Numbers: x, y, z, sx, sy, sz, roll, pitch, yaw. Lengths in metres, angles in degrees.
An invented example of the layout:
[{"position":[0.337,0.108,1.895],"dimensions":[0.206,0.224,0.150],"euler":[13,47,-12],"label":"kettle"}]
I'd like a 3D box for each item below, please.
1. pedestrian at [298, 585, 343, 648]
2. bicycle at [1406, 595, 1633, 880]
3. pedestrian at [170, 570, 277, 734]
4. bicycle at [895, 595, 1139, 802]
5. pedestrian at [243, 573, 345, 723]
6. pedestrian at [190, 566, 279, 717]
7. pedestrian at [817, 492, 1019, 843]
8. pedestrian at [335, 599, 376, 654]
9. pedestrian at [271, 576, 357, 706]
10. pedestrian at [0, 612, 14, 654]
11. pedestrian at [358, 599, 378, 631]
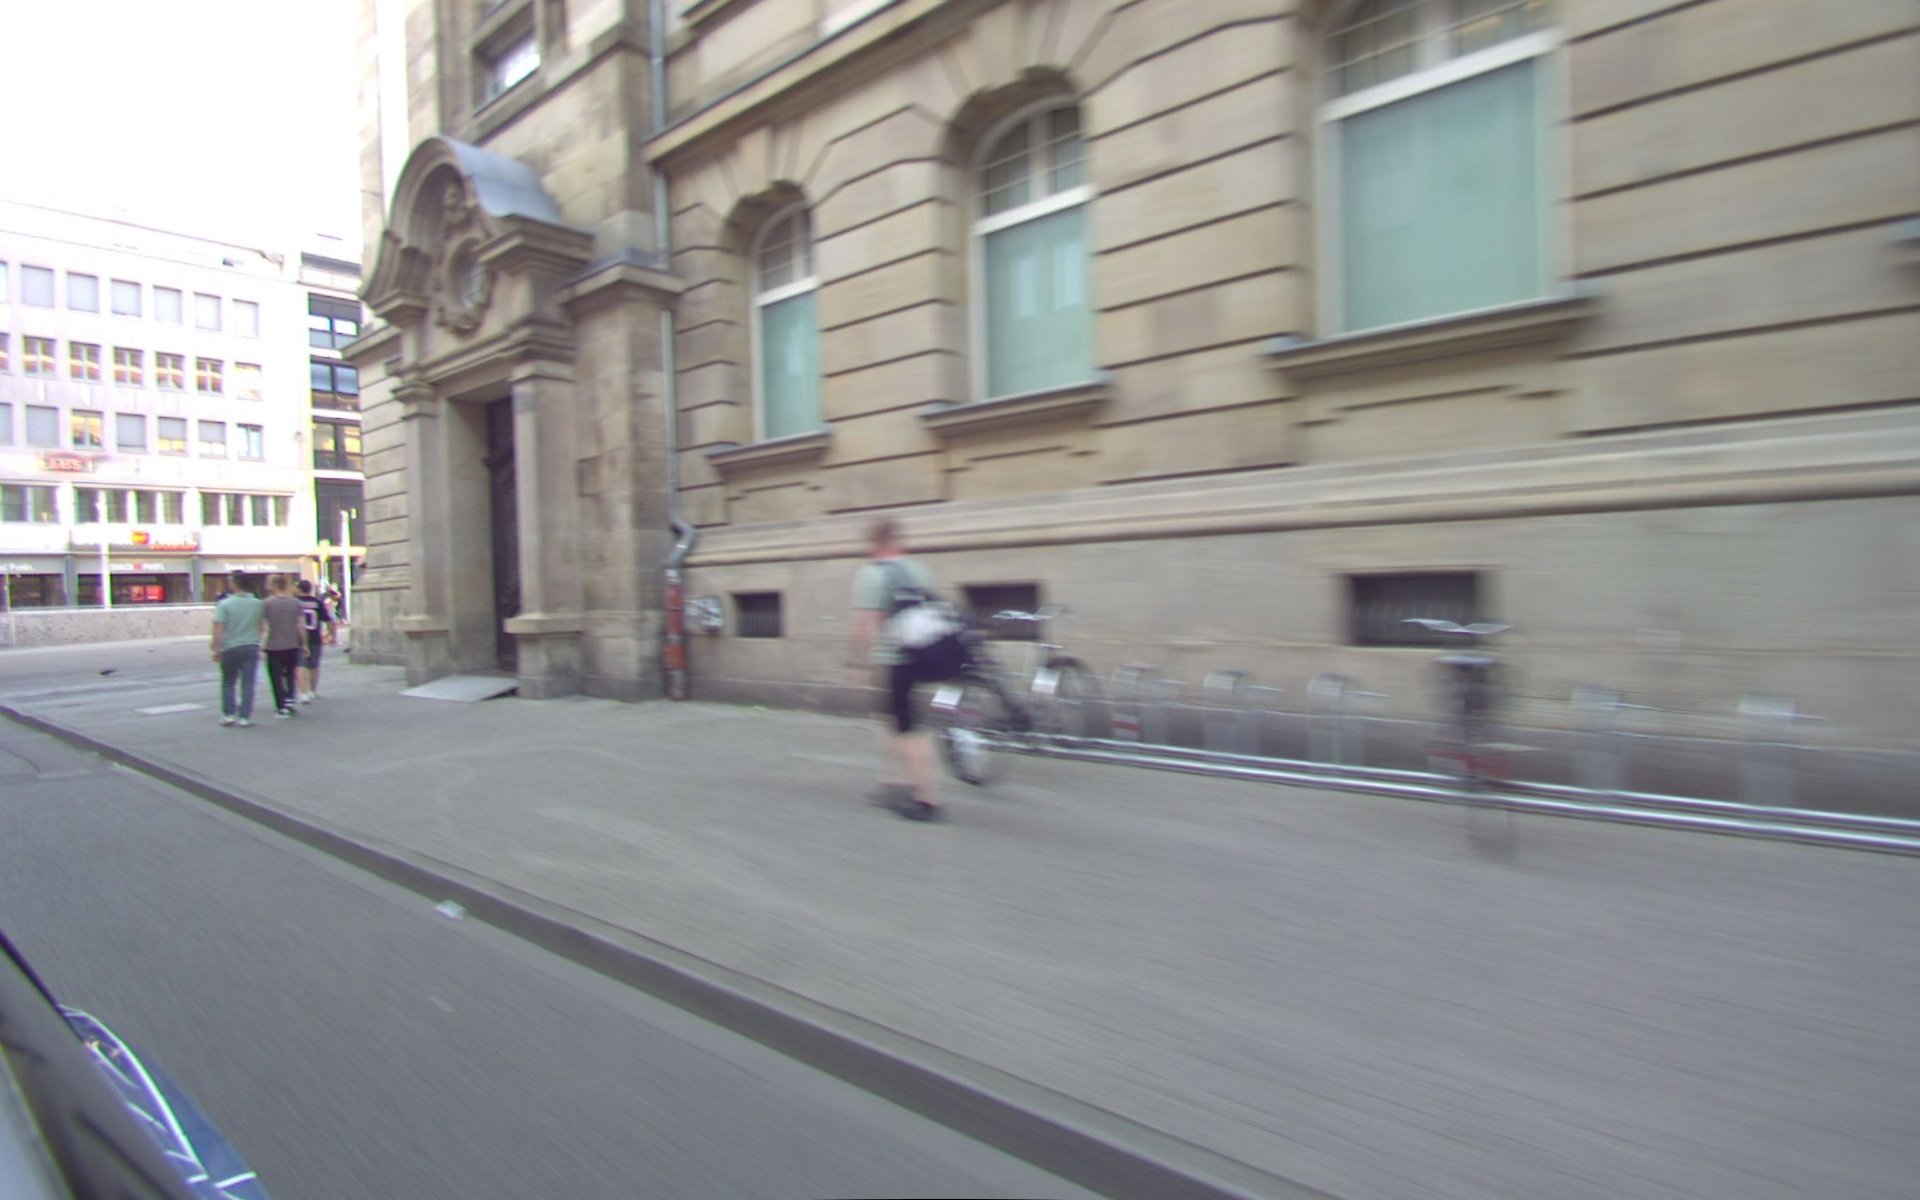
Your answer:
[{"position":[-18.772,0.482,29.713],"dimensions":[0.744,1.774,0.851],"euler":[-1,2,40],"label":"pedestrian"},{"position":[2.767,0.569,5.221],"dimensions":[0.725,1.086,2.011],"euler":[-1,2,21],"label":"bicycle"},{"position":[-8.408,0.568,11.555],"dimensions":[0.839,1.755,0.718],"euler":[-1,3,43],"label":"pedestrian"},{"position":[0.470,0.577,6.952],"dimensions":[0.728,1.117,2.002],"euler":[-1,3,34],"label":"bicycle"},{"position":[-7.981,0.549,12.121],"dimensions":[0.858,1.680,0.721],"euler":[-1,3,43],"label":"pedestrian"},{"position":[-9.429,0.517,13.147],"dimensions":[0.708,1.843,0.871],"euler":[-6,3,-42],"label":"pedestrian"},{"position":[-0.233,0.335,5.695],"dimensions":[0.800,1.793,0.710],"euler":[-1,2,41],"label":"pedestrian"},{"position":[-15.116,0.653,25.290],"dimensions":[0.766,1.283,0.789],"euler":[-5,2,-33],"label":"pedestrian"},{"position":[-8.757,0.536,13.711],"dimensions":[0.747,1.654,0.749],"euler":[-6,3,-42],"label":"pedestrian"},{"position":[-40.491,1.396,42.818],"dimensions":[0.558,1.721,0.539],"euler":[-1,1,41],"label":"pedestrian"},{"position":[-31.697,0.797,54.190],"dimensions":[0.617,1.665,0.668],"euler":[-2,1,9],"label":"pedestrian"}]
